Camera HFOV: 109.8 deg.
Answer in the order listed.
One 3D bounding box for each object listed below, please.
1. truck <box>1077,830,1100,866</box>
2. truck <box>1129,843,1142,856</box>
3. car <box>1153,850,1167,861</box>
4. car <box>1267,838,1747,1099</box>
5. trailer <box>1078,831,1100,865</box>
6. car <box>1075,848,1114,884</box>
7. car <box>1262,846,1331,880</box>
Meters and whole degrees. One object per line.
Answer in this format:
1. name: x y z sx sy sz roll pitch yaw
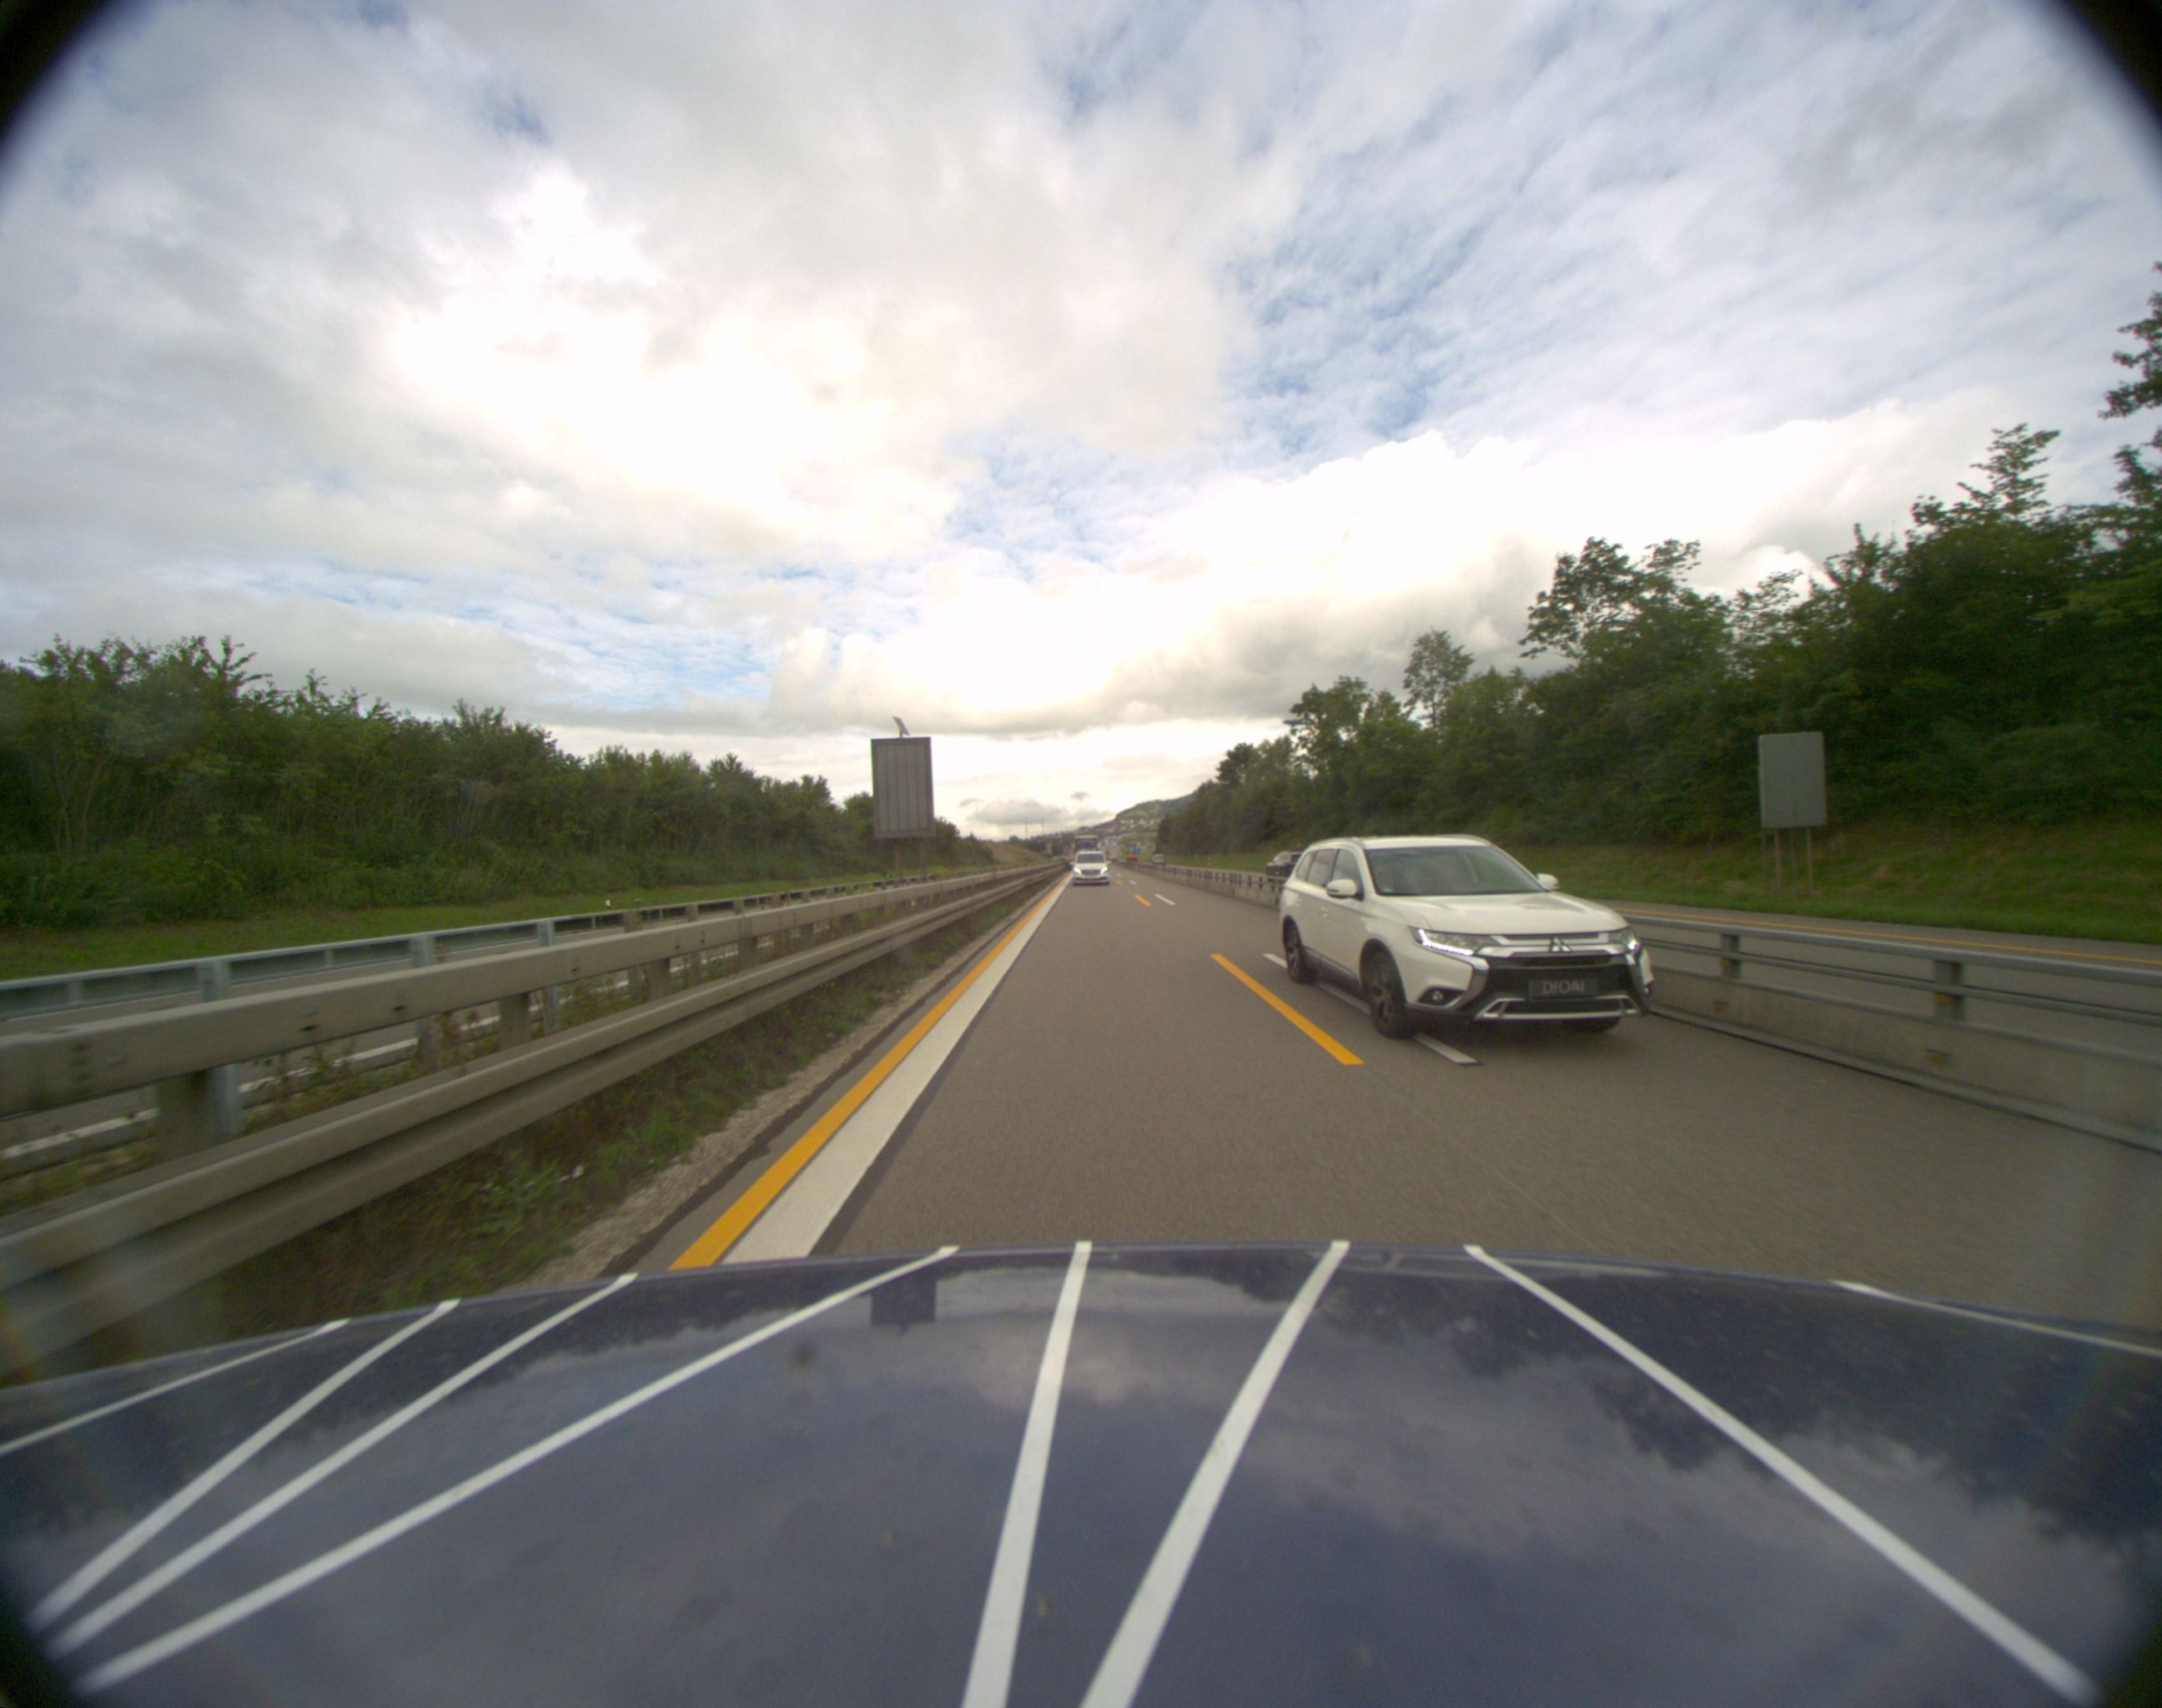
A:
1. truck: 0.969 -0.738 92.109 2.521 4.081 5.685 -2 1 1
2. truck: 12.268 -0.980 171.039 2.496 2.702 6.667 -2 0 1
3. car: 11.239 0.167 108.190 1.685 1.541 3.949 -1 0 0
4. car: 3.275 0.726 7.140 1.998 1.618 4.607 -1 0 2
5. trailer: 1.070 -0.790 97.371 2.521 4.081 11.113 -2 0 1
6. car: 0.723 0.621 41.835 1.991 1.787 4.585 -2 0 1
7. car: 10.500 0.393 37.428 1.998 1.515 5.024 -2 0 1
